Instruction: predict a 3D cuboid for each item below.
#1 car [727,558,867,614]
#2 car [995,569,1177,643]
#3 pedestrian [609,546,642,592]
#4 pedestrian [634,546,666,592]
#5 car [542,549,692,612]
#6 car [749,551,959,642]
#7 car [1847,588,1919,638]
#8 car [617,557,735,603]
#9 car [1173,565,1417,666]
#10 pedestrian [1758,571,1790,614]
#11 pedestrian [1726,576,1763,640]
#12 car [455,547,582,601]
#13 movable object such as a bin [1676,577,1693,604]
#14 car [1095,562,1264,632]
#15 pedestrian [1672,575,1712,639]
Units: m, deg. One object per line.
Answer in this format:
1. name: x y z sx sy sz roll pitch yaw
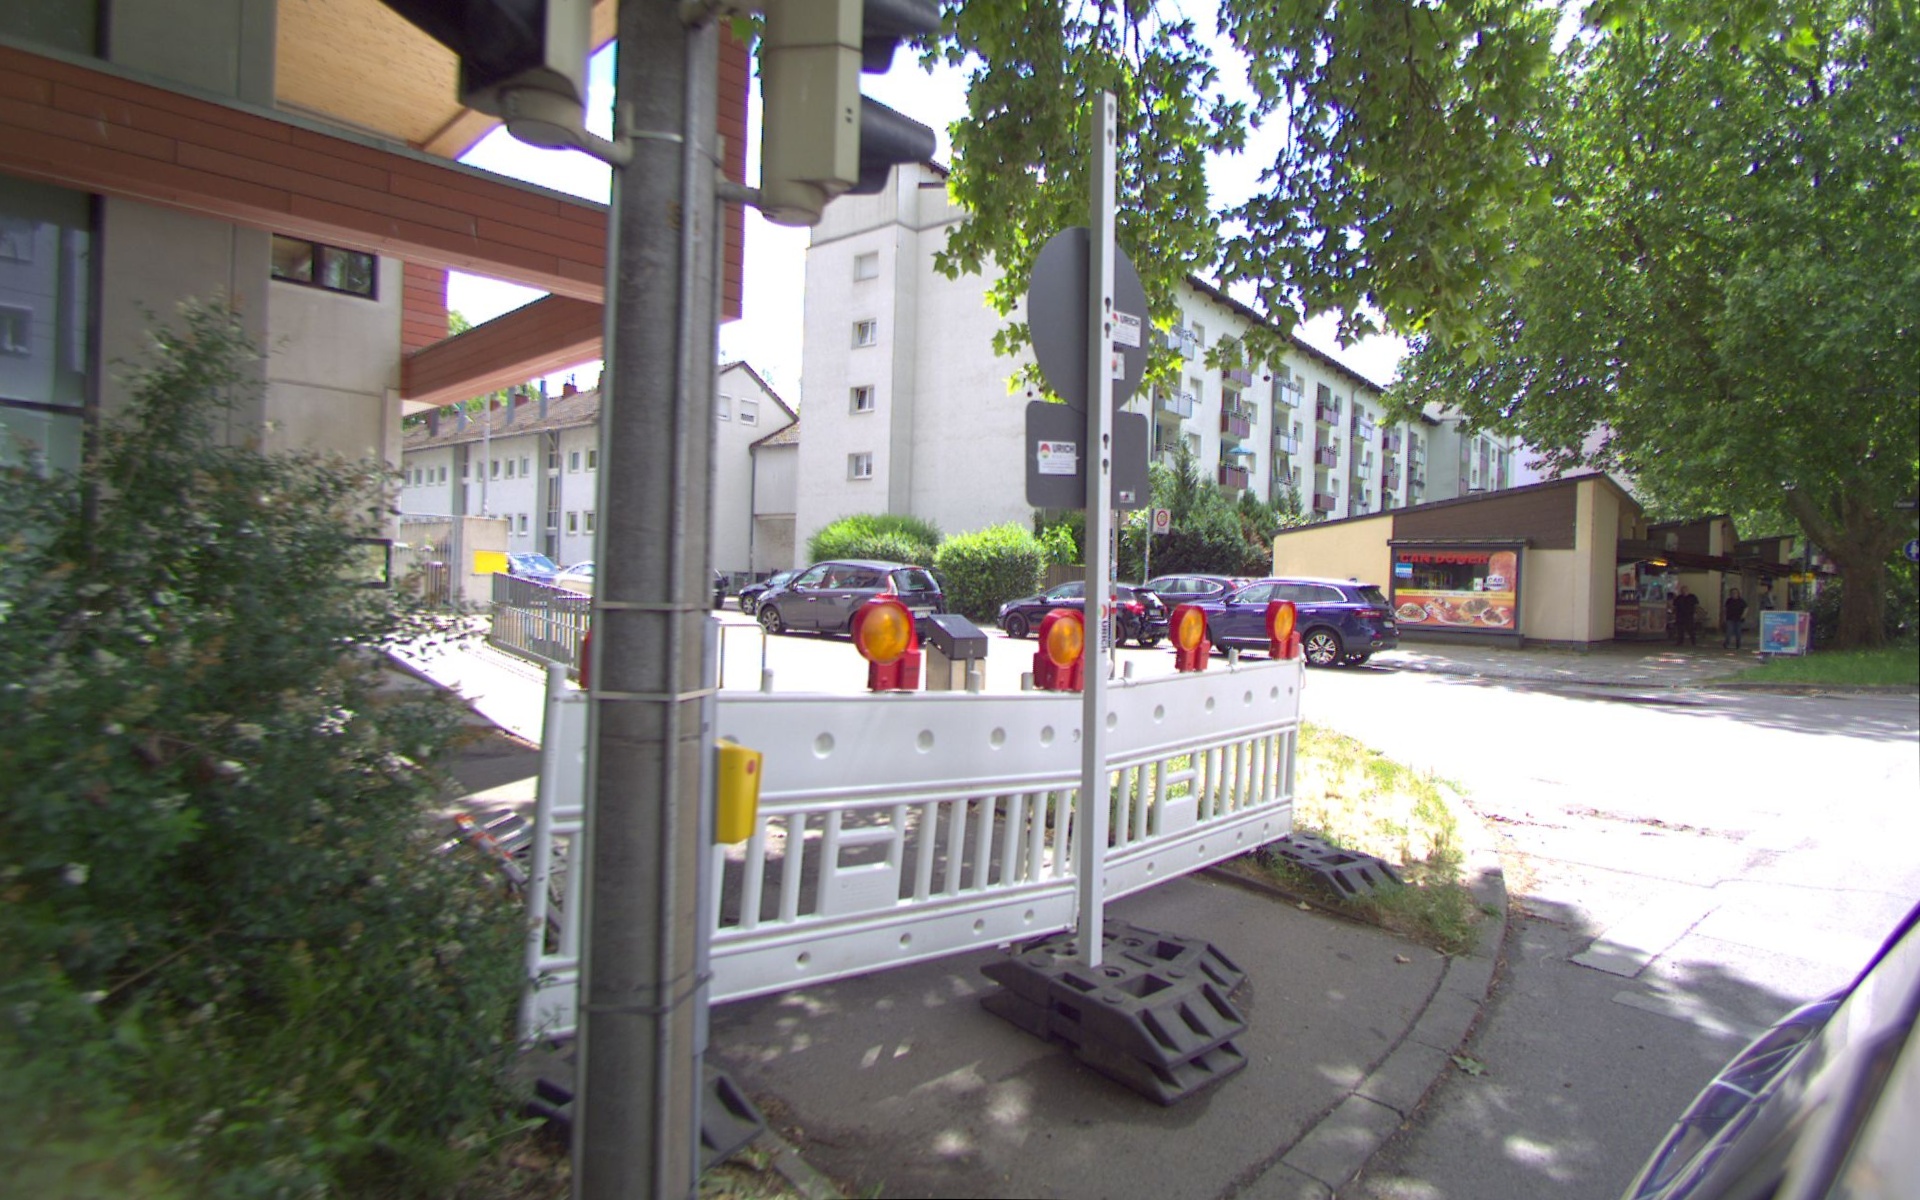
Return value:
1. car: -4.873 -0.445 29.980 4.103 1.472 1.849 3 2 39
2. car: 2.852 0.089 23.444 3.984 1.461 1.503 4 2 41
3. pedestrian: -13.107 -1.215 39.650 0.948 1.776 0.828 1 1 39
4. pedestrian: -12.320 -1.225 40.184 0.948 1.776 0.828 1 1 39
5. car: -9.078 -0.552 26.630 4.227 1.474 1.865 3 3 41
6. car: -2.220 -0.147 20.570 4.227 1.624 1.865 3 2 41
7. car: 32.781 0.478 34.452 3.829 1.581 1.595 4 4 42
8. car: -9.672 -0.695 34.328 4.044 1.426 1.931 3 2 40
9. car: 6.643 0.225 20.296 4.176 1.702 1.983 4 2 41
10. pedestrian: 35.427 -0.336 44.046 0.595 1.823 0.926 1 3 3
11. pedestrian: 21.503 0.205 27.746 0.758 1.697 0.625 -1 2 -41
12. car: -13.215 -0.806 30.212 4.227 1.474 1.865 3 3 41
13. movable object such as a bin: 26.012 -0.344 36.335 0.436 0.925 0.580 3 3 39
14. car: 5.824 -0.138 27.123 4.089 1.675 1.784 3 3 41
15. pedestrian: 20.576 0.190 28.462 0.759 1.745 0.648 4 3 44
